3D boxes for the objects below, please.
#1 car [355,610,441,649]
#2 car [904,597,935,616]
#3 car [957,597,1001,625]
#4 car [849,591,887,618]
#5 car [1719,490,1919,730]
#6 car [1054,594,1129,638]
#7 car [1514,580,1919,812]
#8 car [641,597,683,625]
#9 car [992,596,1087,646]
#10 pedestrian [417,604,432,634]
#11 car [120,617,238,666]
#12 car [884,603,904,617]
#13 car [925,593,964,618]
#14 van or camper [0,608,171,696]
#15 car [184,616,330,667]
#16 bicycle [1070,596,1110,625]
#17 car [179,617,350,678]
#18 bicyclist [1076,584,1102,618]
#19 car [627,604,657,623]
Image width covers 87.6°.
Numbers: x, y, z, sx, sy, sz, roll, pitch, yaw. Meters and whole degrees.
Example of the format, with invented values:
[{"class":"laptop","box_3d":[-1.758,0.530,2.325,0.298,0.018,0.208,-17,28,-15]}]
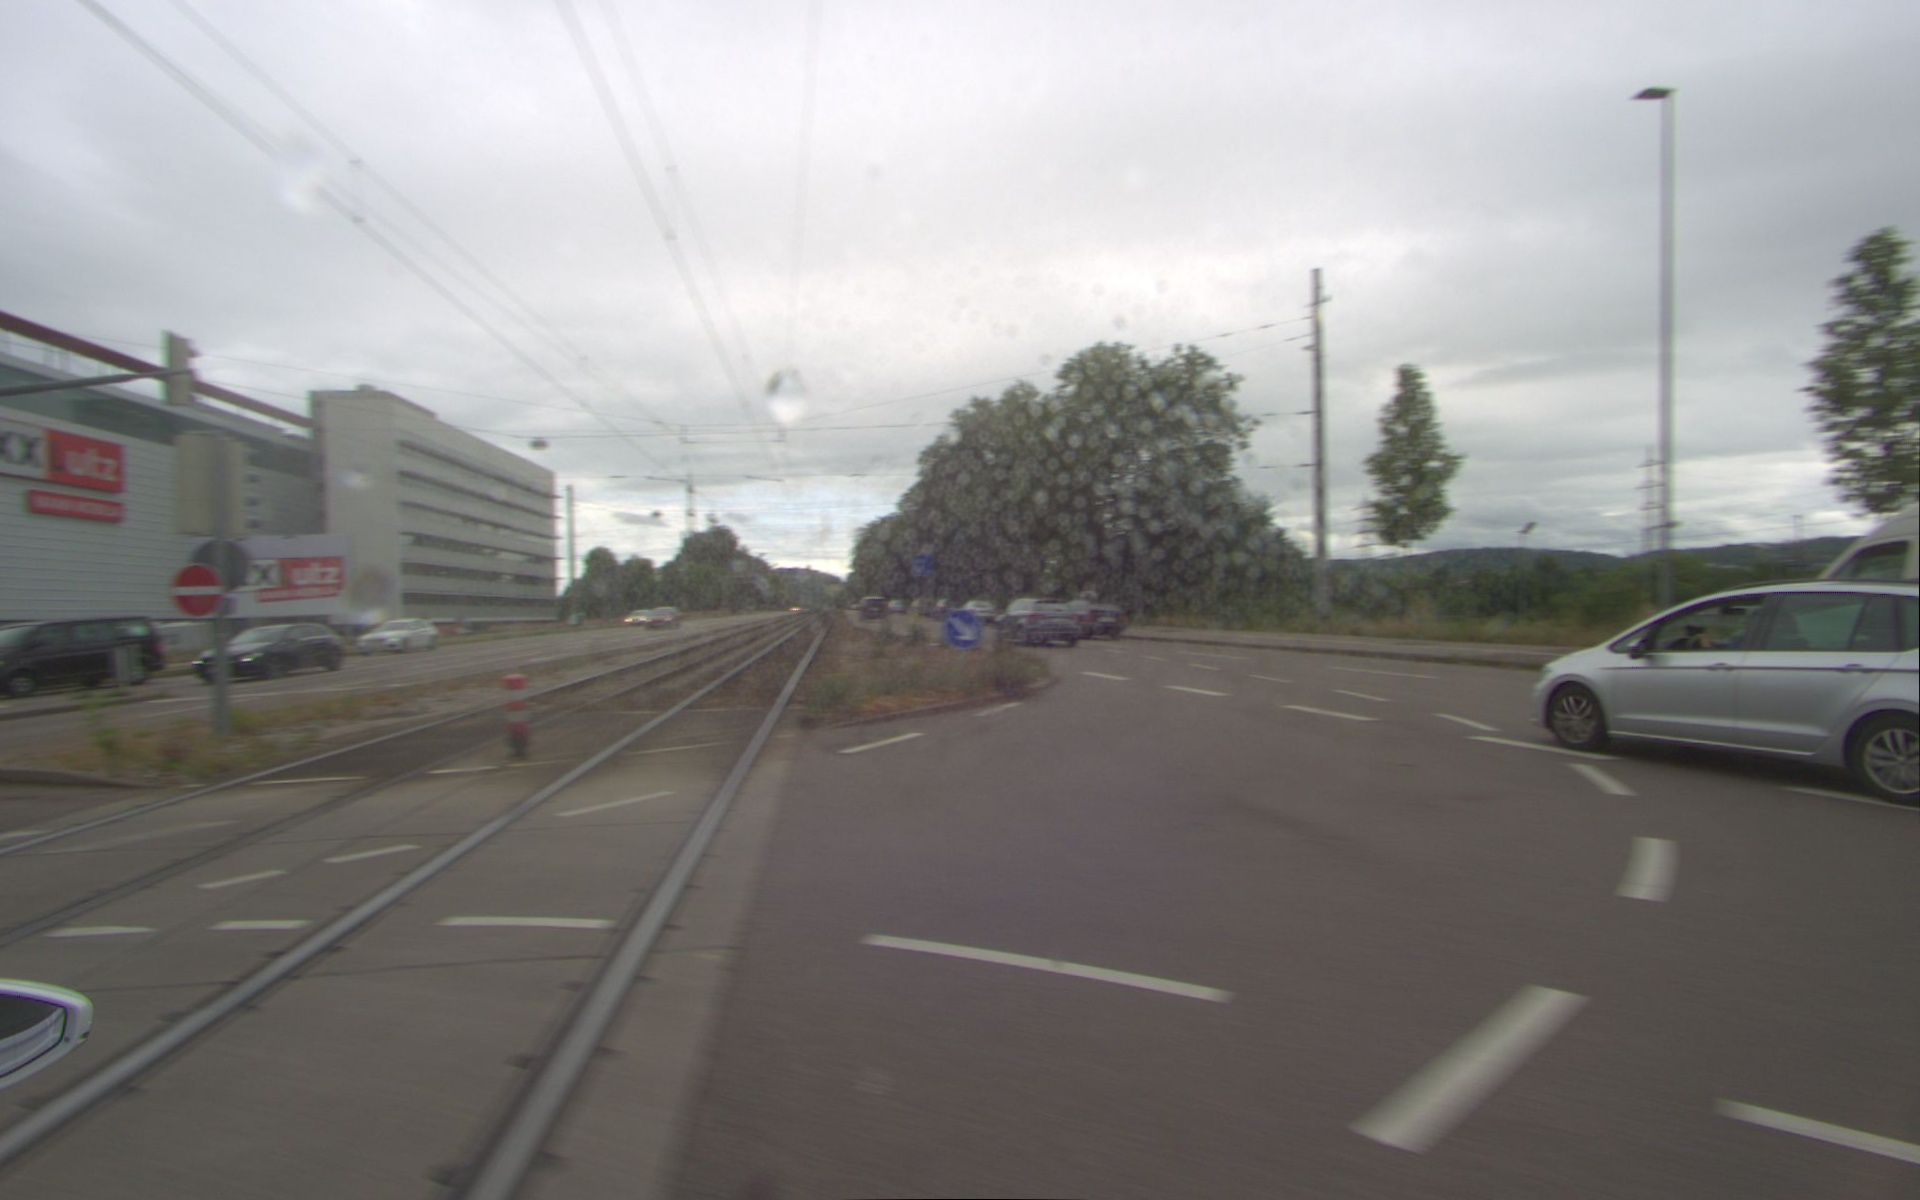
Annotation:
[{"class":"car","box_3d":[-24.165,1.245,43.218,1.700,1.559,4.044,0,0,-5]},{"class":"car","box_3d":[-3.573,0.588,87.198,1.829,1.582,4.311,1,-1,-14]},{"class":"car","box_3d":[1.044,0.600,57.771,1.702,1.529,3.627,0,0,-13]},{"class":"car","box_3d":[-5.988,0.298,64.749,1.804,1.658,4.311,-1,0,-14]},{"class":"car","box_3d":[12.044,0.111,10.784,2.615,2.661,5.893,0,0,-12]},{"class":"car","box_3d":[4.804,0.598,37.069,1.707,1.498,4.318,1,-1,-7]},{"class":"car","box_3d":[7.036,0.656,8.350,1.827,1.572,4.194,0,0,-15]},{"class":"car","box_3d":[-20.004,0.723,67.298,1.961,1.751,3.998,-2,1,-6]},{"class":"car","box_3d":[2.342,0.601,30.568,1.711,1.420,4.071,0,0,-14]},{"class":"pedestrian","box_3d":[-31.960,1.139,59.759,0.686,1.814,0.641,0,0,-20]},{"class":"car","box_3d":[-51.156,2.641,65.872,2.715,3.028,6.951,0,-1,-4]},{"class":"car","box_3d":[-7.095,1.121,107.884,1.786,1.500,3.670,0,-1,-9]},{"class":"car","box_3d":[-1.126,0.400,69.231,1.828,1.582,4.312,1,-1,-12]},{"class":"van or camper","box_3d":[-24.449,1.381,26.924,2.084,2.040,4.747,-4,1,12]},{"class":"car","box_3d":[-24.053,1.380,34.489,1.930,1.483,4.320,-2,1,0]},{"class":"bicycle","box_3d":[5.793,0.434,44.852,0.804,1.201,2.517,-2,2,-16]},{"class":"car","box_3d":[-19.126,1.260,27.800,1.801,1.483,4.207,0,0,0]},{"class":"bicyclist","box_3d":[5.756,0.035,44.783,0.804,1.499,0.998,-2,2,-16]},{"class":"car","box_3d":[-28.372,1.215,89.474,1.713,1.622,4.075,0,-1,-5]}]
